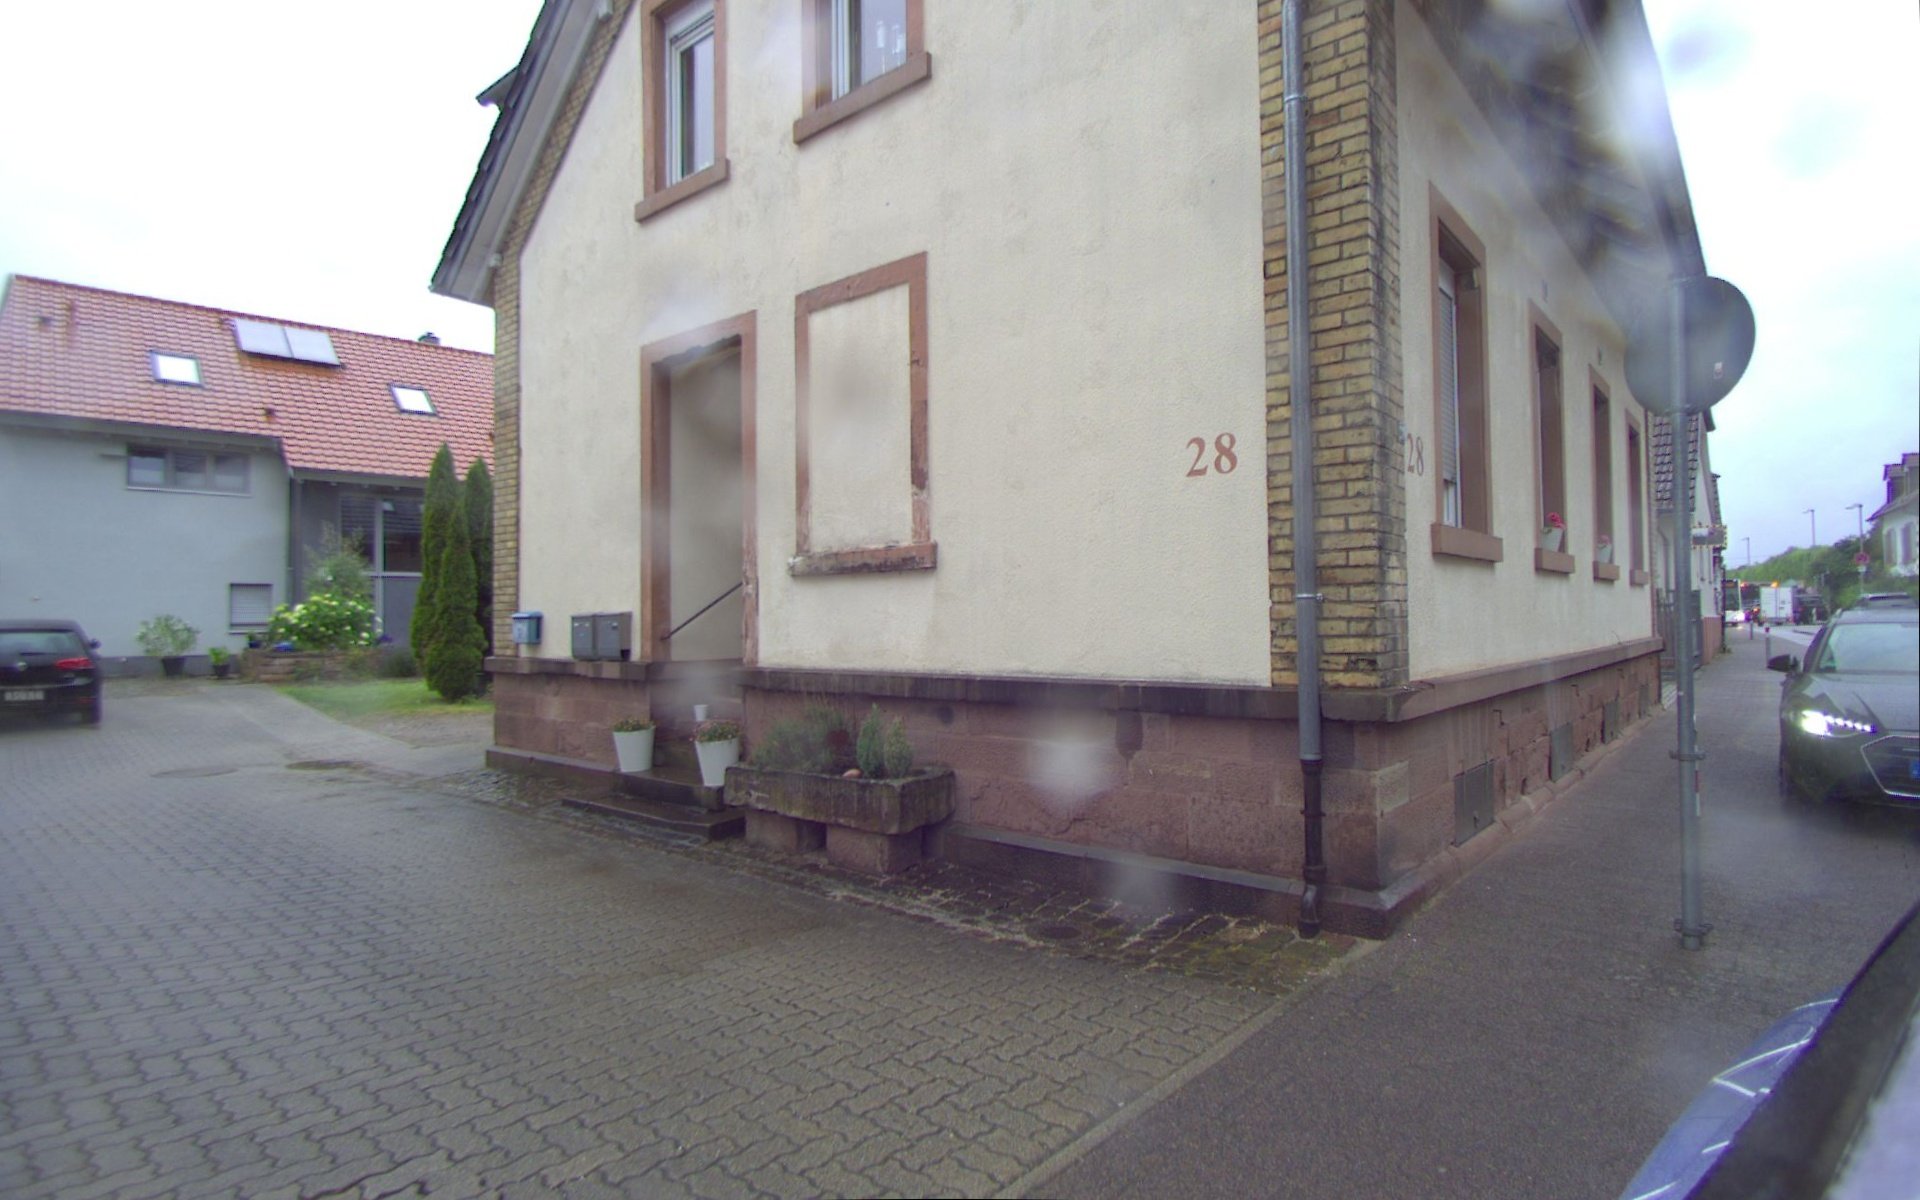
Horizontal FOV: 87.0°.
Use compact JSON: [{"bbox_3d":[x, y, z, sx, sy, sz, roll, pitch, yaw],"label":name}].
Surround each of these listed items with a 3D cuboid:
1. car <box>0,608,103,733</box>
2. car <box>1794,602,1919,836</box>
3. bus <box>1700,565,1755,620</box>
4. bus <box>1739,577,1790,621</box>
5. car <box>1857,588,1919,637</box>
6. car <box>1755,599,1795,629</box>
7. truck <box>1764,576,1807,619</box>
[{"bbox_3d":[-13.945,0.952,15.116,1.656,1.491,3.993,0,2,-42],"label":"car"},{"bbox_3d":[7.369,0.733,7.547,1.732,1.388,4.044,0,0,39],"label":"car"},{"bbox_3d":[50.033,-0.537,66.169,2.654,3.273,12.033,0,0,36],"label":"bus"},{"bbox_3d":[64.151,-0.152,80.875,2.654,3.273,12.033,0,0,36],"label":"bus"},{"bbox_3d":[35.024,0.437,37.995,1.777,1.686,4.363,-3,-1,40],"label":"car"},{"bbox_3d":[58.685,0.955,72.906,1.987,2.039,3.949,0,0,36],"label":"car"},{"bbox_3d":[51.302,-0.165,62.843,1.991,2.536,5.569,0,0,40],"label":"truck"}]
